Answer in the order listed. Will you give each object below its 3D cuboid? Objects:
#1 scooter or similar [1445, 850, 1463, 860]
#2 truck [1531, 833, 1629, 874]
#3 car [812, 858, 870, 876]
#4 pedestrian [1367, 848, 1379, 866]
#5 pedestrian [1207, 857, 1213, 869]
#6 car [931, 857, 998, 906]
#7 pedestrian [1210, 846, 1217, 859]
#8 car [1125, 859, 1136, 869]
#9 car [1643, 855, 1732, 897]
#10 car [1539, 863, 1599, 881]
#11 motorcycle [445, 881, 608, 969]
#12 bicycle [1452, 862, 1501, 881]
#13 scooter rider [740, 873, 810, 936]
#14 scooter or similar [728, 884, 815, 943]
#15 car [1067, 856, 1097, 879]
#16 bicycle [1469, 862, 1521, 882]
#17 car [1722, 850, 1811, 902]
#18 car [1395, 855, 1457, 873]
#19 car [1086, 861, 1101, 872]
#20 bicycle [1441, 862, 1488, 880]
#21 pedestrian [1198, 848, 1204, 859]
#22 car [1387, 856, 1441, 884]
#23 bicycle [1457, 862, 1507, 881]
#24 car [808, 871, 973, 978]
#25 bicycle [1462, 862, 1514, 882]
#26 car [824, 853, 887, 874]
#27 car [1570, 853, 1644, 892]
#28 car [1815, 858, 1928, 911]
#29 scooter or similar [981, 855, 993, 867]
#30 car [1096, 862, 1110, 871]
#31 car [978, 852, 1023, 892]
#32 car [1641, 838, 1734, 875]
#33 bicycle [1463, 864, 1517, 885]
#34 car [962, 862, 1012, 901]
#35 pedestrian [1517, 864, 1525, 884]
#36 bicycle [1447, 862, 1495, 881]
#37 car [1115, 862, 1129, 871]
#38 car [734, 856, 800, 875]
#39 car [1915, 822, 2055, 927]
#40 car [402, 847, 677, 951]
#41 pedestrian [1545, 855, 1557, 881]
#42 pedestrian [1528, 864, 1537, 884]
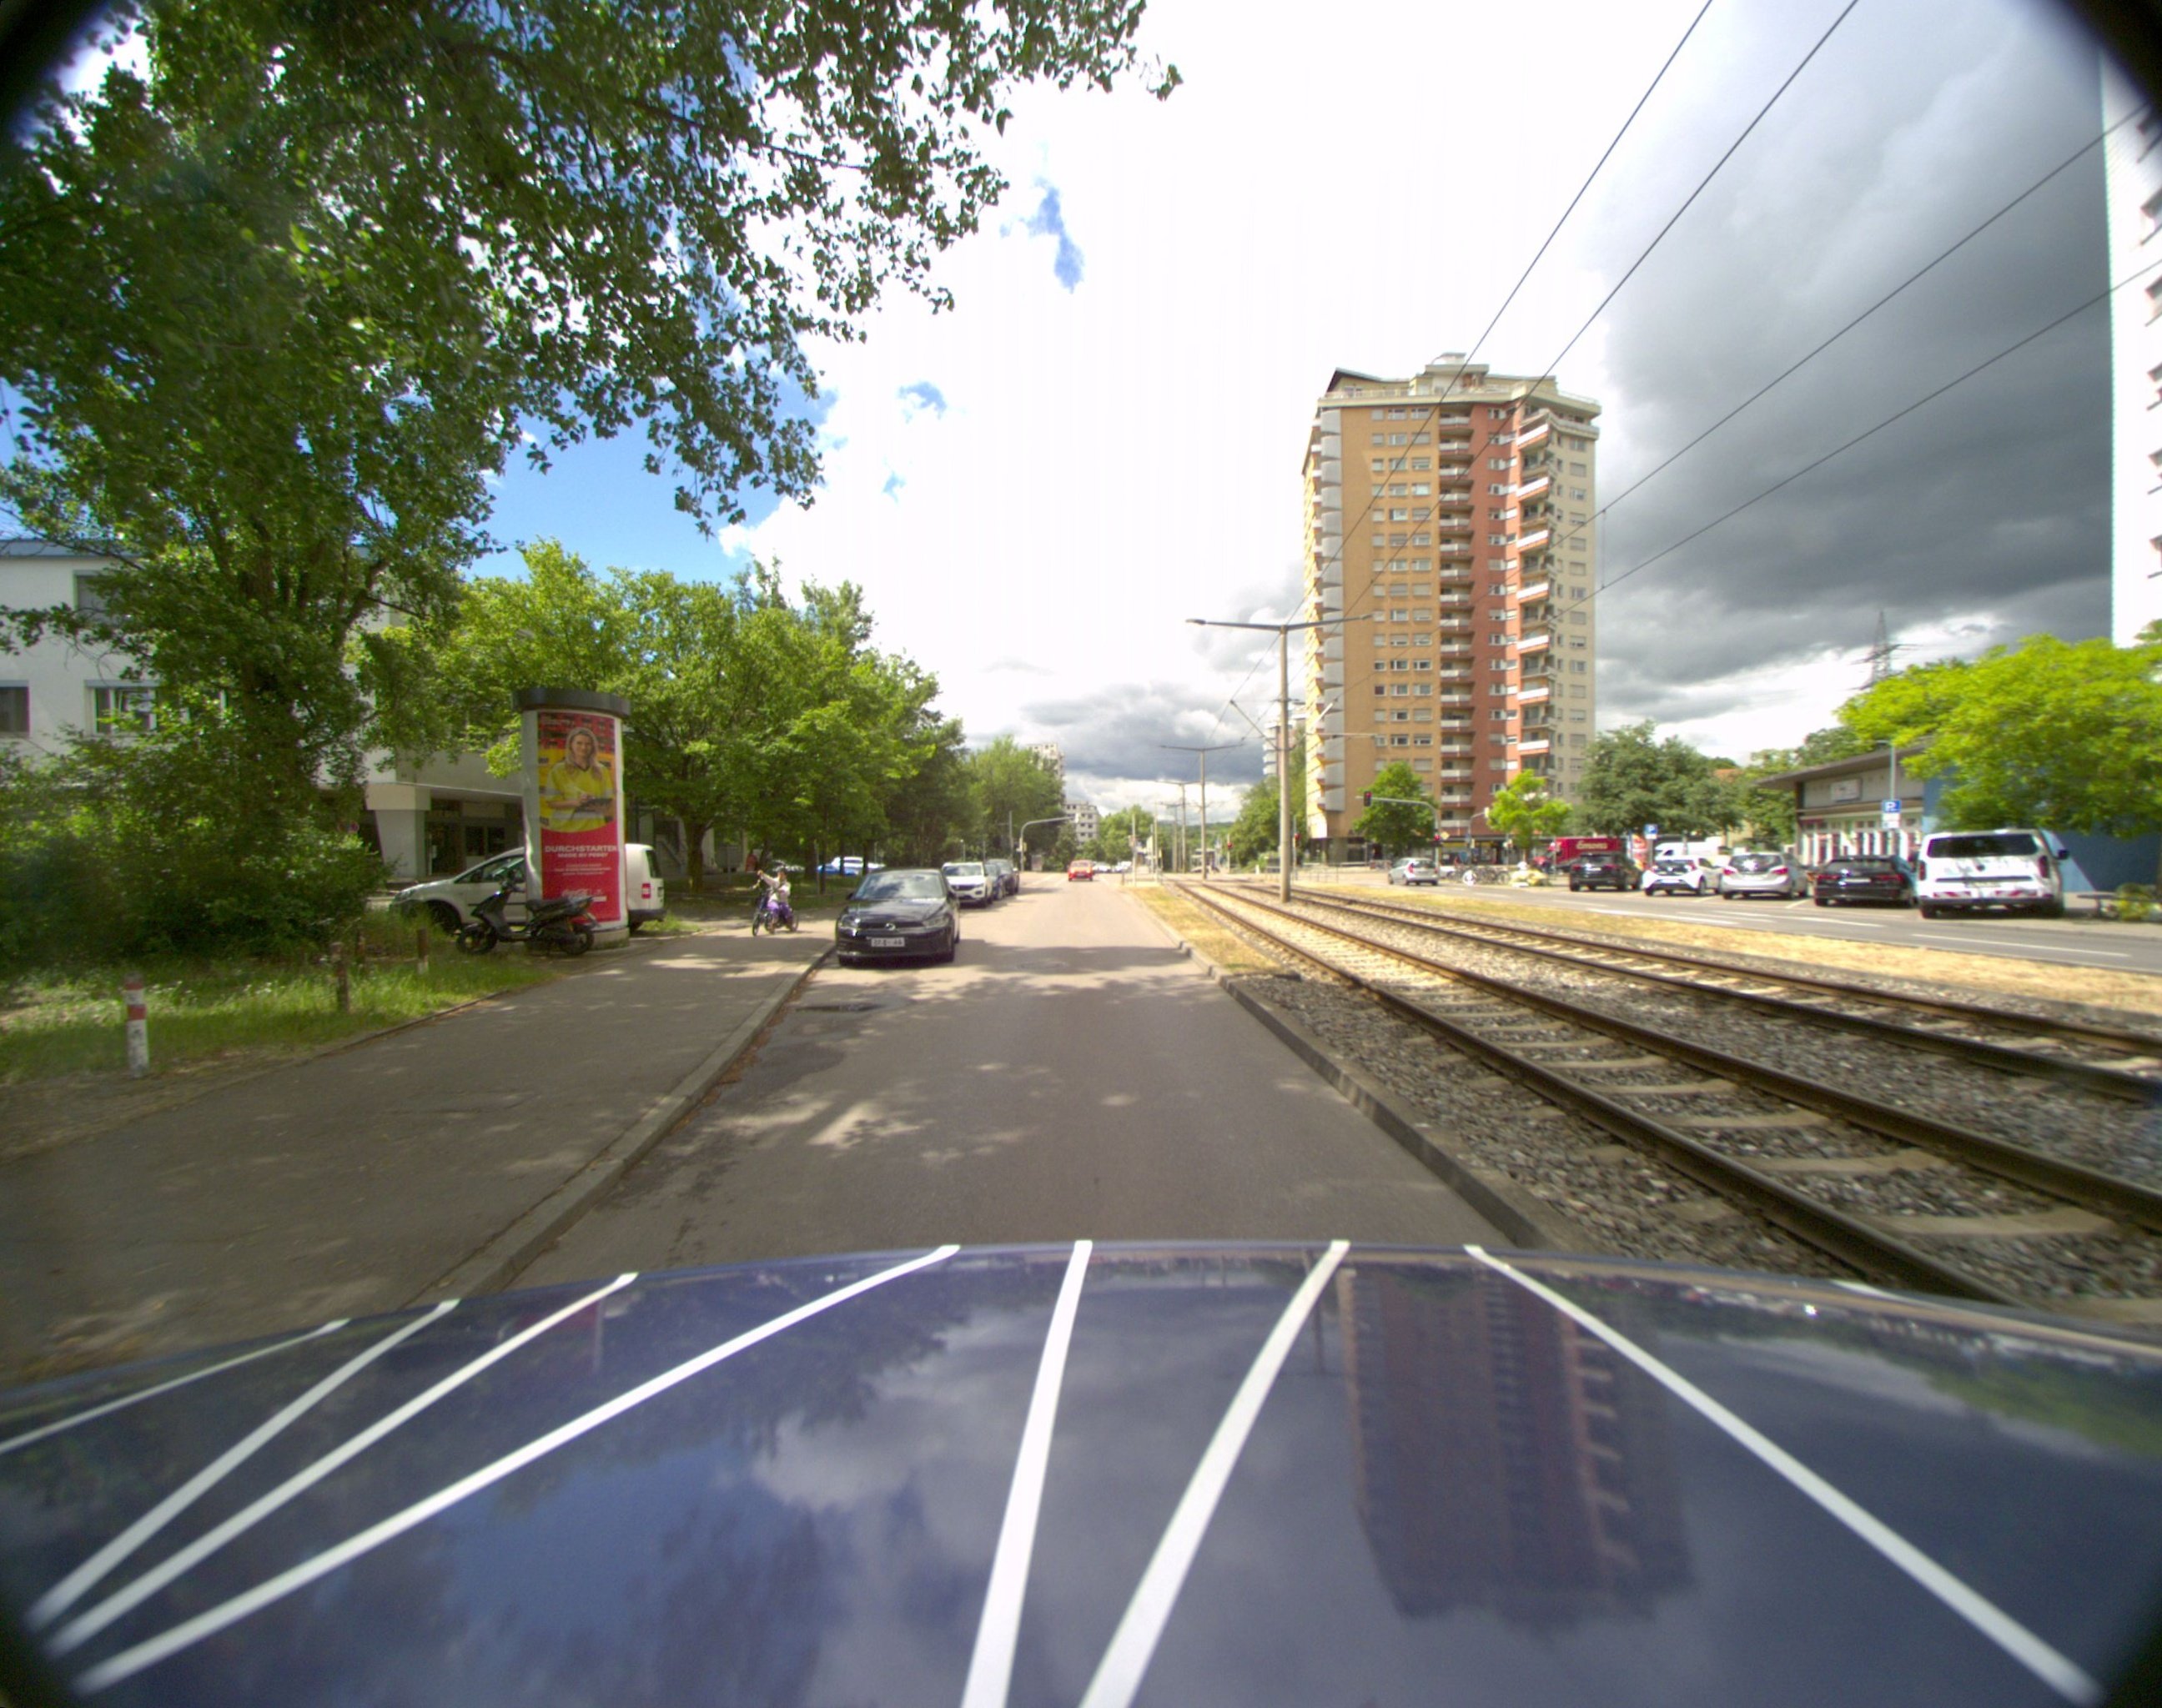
[{"bbox_3d":[40.789,0.109,83.046,1.751,1.087,0.545,0,0,0],"label":"scooter or similar"},{"bbox_3d":[45.886,-0.015,70.052,7.089,3.653,2.549,0,0,10],"label":"truck"},{"bbox_3d":[-18.840,1.019,59.787,3.970,1.218,1.912,0,2,-3],"label":"car"},{"bbox_3d":[31.536,0.367,82.111,0.920,1.923,0.854,0,0,4],"label":"pedestrian"},{"bbox_3d":[19.685,1.369,115.802,0.770,1.920,0.573,0,0,3],"label":"pedestrian"},{"bbox_3d":[-3.957,0.893,26.461,1.788,1.556,4.569,0,0,-3],"label":"car"},{"bbox_3d":[18.999,-0.207,108.706,0.865,1.763,0.747,0,0,4],"label":"pedestrian"},{"bbox_3d":[10.157,2.041,157.125,1.998,2.135,4.000,0,0,1],"label":"car"},{"bbox_3d":[22.956,0.796,28.738,3.774,1.487,1.742,1,0,-37],"label":"car"},{"bbox_3d":[43.050,1.549,67.139,3.993,1.485,2.002,0,0,10],"label":"car"},{"bbox_3d":[-8.090,1.009,11.175,1.802,1.203,0.711,1,0,-20],"label":"motorcycle"},{"bbox_3d":[22.818,1.002,43.856,2.432,1.060,0.705,0,0,4],"label":"bicycle"},{"bbox_3d":[-6.221,1.006,15.513,0.887,1.213,1.282,0,-1,0],"label":"scooter rider"},{"bbox_3d":[-6.217,1.163,15.427,0.892,1.058,2.114,0,-1,0],"label":"scooter or similar"},{"bbox_3d":[0.110,0.949,53.822,1.818,1.483,4.001,-1,1,3],"label":"car"},{"bbox_3d":[22.636,0.984,41.536,2.432,1.060,0.705,0,0,4],"label":"bicycle"},{"bbox_3d":[23.334,0.710,25.817,4.009,1.622,1.901,1,0,-43],"label":"car"},{"bbox_3d":[28.152,0.793,62.039,4.272,1.442,1.795,0,0,1],"label":"car"},{"bbox_3d":[1.489,1.431,88.337,1.605,1.207,3.773,0,0,4],"label":"car"},{"bbox_3d":[22.941,1.015,45.434,2.432,1.060,0.705,0,0,4],"label":"bicycle"},{"bbox_3d":[18.805,-0.068,118.685,0.865,1.596,0.747,0,0,4],"label":"pedestrian"},{"bbox_3d":[18.995,0.899,43.531,1.822,1.523,3.757,0,0,7],"label":"car"},{"bbox_3d":[22.729,0.996,43.062,2.432,1.060,0.705,0,0,4],"label":"bicycle"},{"bbox_3d":[-2.941,1.031,12.567,1.820,1.440,3.826,0,0,-1],"label":"car"},{"bbox_3d":[22.654,0.989,42.311,2.432,1.060,0.705,0,0,4],"label":"bicycle"},{"bbox_3d":[-18.589,0.787,62.833,4.654,1.583,1.922,0,2,-3],"label":"car"},{"bbox_3d":[23.034,0.782,33.228,4.009,1.582,1.927,1,0,-44],"label":"car"},{"bbox_3d":[22.641,0.822,21.722,4.008,1.375,1.901,1,0,-39],"label":"car"},{"bbox_3d":[-9.517,0.715,76.993,1.185,1.228,0.479,0,0,-8],"label":"scooter or similar"},{"bbox_3d":[2.969,1.667,102.179,1.605,1.207,3.773,0,0,6],"label":"car"},{"bbox_3d":[-3.724,0.824,35.708,1.648,1.752,4.569,0,0,0],"label":"car"},{"bbox_3d":[54.336,0.218,68.204,6.294,3.280,2.002,0,0,12],"label":"car"},{"bbox_3d":[21.546,1.068,40.071,2.432,1.028,0.717,-2,0,4],"label":"bicycle"},{"bbox_3d":[-3.802,1.083,31.213,1.648,1.449,4.075,0,0,-1],"label":"car"},{"bbox_3d":[33.089,1.476,57.128,0.517,1.463,0.527,1,0,30],"label":"pedestrian"},{"bbox_3d":[22.916,1.009,44.650,2.432,1.060,0.705,0,0,4],"label":"bicycle"},{"bbox_3d":[5.803,1.700,107.624,1.805,1.207,4.023,0,0,4],"label":"car"},{"bbox_3d":[-24.503,0.882,59.382,4.402,1.407,1.950,0,2,-5],"label":"car"},{"bbox_3d":[21.114,0.452,17.741,4.772,2.144,1.901,1,0,-39],"label":"car"},{"bbox_3d":[-10.246,0.806,14.766,4.004,1.812,1.807,1,0,-21],"label":"car"},{"bbox_3d":[29.907,0.876,48.358,0.417,1.633,0.601,0,0,1],"label":"pedestrian"},{"bbox_3d":[33.842,1.486,56.932,0.571,1.463,0.527,1,0,30],"label":"pedestrian"}]
